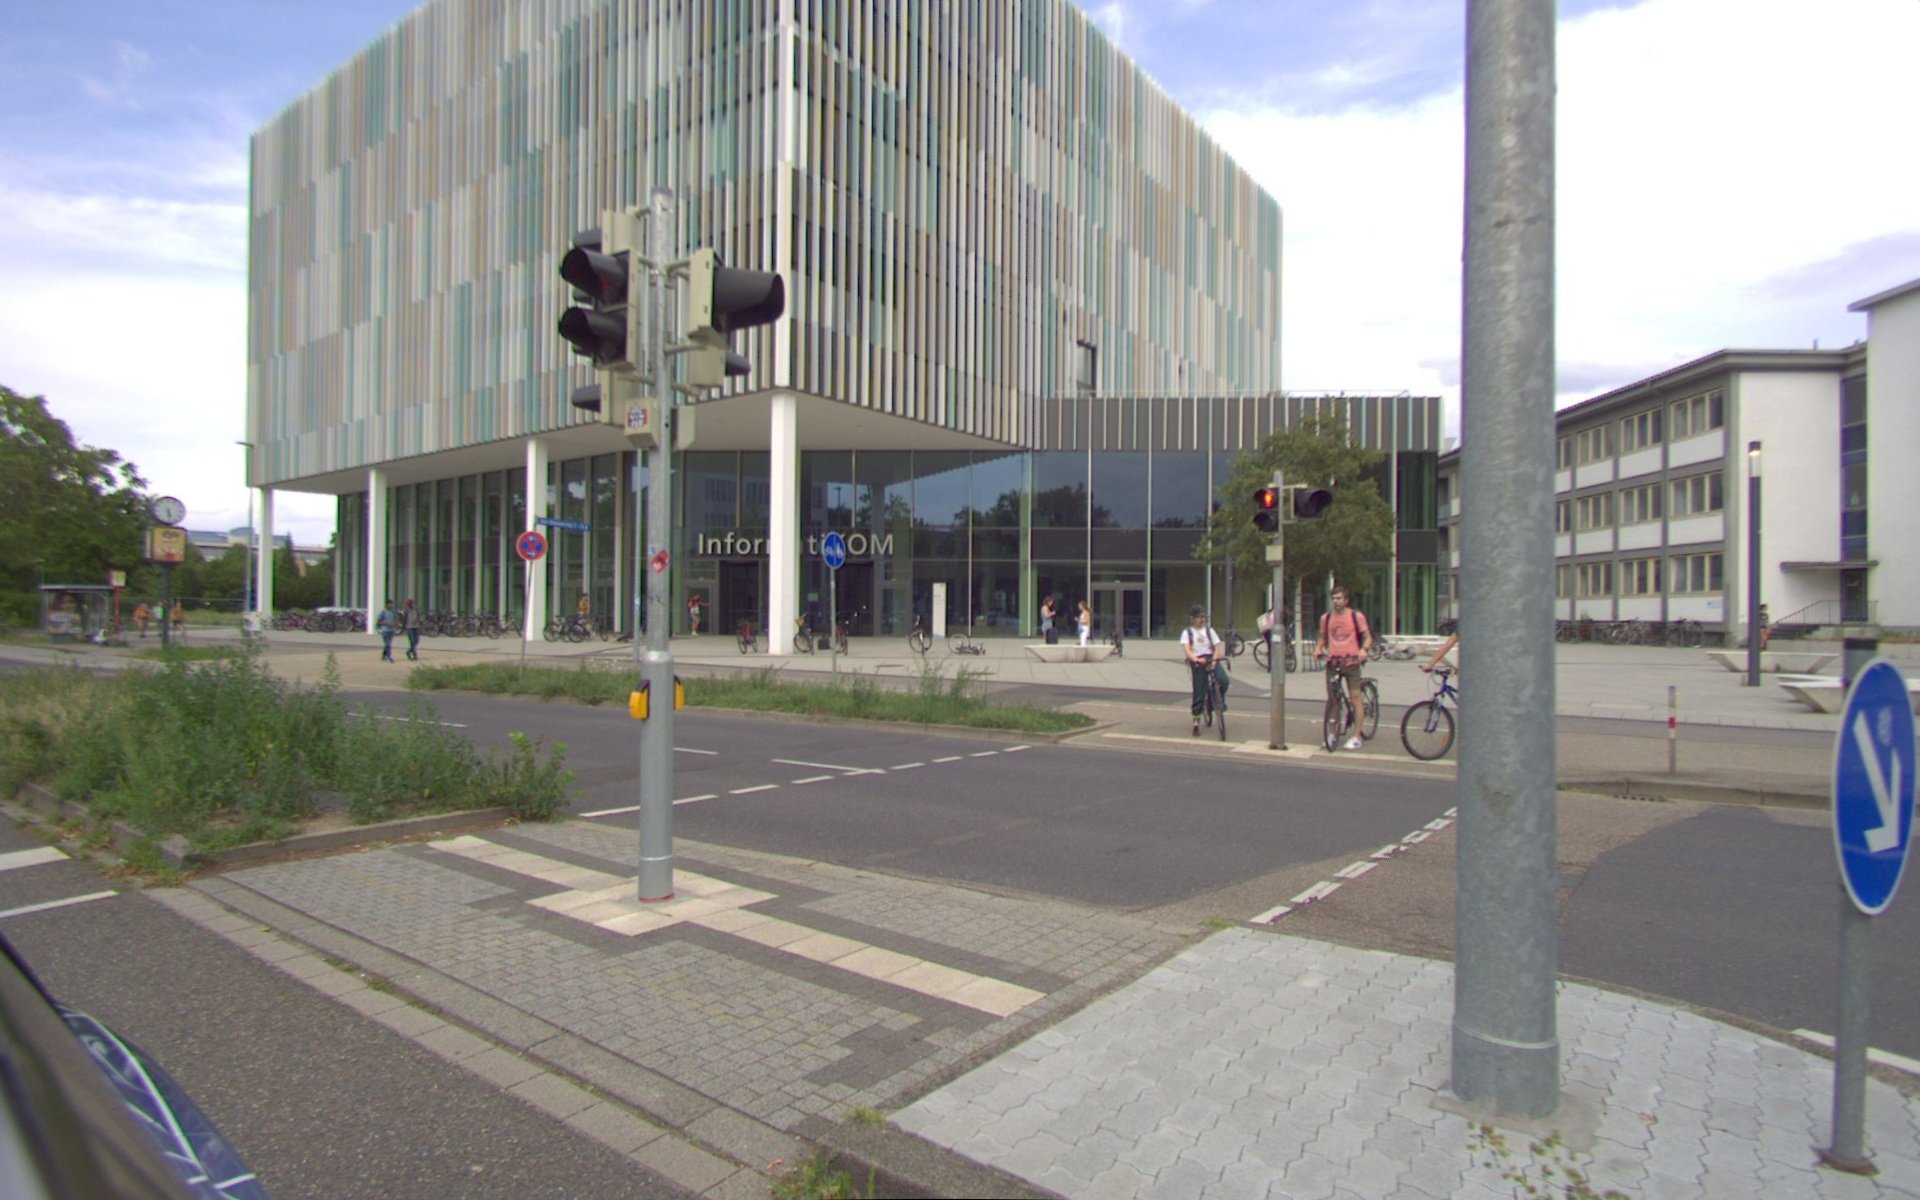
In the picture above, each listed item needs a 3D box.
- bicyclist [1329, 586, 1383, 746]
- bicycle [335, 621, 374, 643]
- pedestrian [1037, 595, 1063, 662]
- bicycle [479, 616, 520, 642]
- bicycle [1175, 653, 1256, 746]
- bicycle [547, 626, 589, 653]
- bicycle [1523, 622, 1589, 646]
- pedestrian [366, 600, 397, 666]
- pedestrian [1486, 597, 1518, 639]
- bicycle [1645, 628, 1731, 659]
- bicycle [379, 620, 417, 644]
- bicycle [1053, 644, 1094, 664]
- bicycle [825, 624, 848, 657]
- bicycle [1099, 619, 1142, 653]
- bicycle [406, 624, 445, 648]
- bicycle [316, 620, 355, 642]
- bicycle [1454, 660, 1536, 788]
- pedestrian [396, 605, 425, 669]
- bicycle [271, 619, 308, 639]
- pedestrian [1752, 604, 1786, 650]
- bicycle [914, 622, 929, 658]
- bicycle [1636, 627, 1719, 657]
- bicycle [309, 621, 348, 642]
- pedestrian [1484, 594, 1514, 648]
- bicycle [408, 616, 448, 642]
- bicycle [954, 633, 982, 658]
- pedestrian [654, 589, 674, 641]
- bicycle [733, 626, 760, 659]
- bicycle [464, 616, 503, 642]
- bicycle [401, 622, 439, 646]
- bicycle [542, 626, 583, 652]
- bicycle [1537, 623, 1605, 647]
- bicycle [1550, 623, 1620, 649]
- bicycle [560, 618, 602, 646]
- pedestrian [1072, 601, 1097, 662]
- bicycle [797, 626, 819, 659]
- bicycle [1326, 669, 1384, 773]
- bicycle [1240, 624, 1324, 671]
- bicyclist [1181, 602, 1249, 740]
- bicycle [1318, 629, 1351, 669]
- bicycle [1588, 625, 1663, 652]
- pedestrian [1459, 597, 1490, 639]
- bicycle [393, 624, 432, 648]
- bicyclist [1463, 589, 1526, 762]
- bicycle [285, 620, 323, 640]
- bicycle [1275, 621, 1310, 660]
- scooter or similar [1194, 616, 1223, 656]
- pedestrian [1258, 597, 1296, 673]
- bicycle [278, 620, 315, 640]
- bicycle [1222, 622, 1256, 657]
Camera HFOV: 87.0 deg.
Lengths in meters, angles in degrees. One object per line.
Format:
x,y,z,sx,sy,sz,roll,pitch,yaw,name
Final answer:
4.644,0.744,11.864,0.558,1.820,0.597,0,0,24,bicyclist
-30.770,1.633,51.446,0.388,1.031,1.685,-1,1,33,bicycle
2.396,0.749,27.024,0.670,1.753,0.729,0,-1,4,pedestrian
-19.059,1.195,41.920,0.388,1.031,1.565,-1,1,33,bicycle
3.328,1.238,13.087,0.724,0.996,1.808,0,1,24,bicycle
-14.810,1.494,38.296,0.393,0.944,1.529,-1,1,33,bicycle
28.713,1.629,48.772,2.639,1.142,0.745,0,-1,4,bicycle
-16.390,0.942,28.692,0.771,1.851,0.506,-2,-2,37,pedestrian
25.576,0.836,47.762,0.962,1.945,1.069,0,-1,4,pedestrian
28.018,1.674,38.984,2.639,1.142,0.745,0,-1,4,bicycle
-26.249,1.500,47.302,0.388,1.031,1.565,-1,1,33,bicycle
3.387,1.618,30.378,0.613,0.526,2.255,0,-1,-10,bicycle
-3.859,1.238,31.500,0.387,0.944,1.603,-1,1,-19,bicycle
4.841,1.078,30.672,0.613,0.992,2.255,0,-1,-10,bicycle
-24.350,1.621,46.108,0.388,1.031,1.565,-1,1,33,bicycle
-32.222,1.598,52.246,0.433,1.031,1.685,-1,1,33,bicycle
5.792,1.288,11.027,0.603,1.179,1.881,0,-1,23,bicycle
-15.909,1.068,29.299,0.623,1.851,0.506,-2,-2,37,pedestrian
-37.500,1.631,56.591,0.433,1.031,1.685,-1,1,33,bicycle
28.111,0.938,35.170,0.589,1.560,0.658,0,-1,-10,pedestrian
-1.188,1.231,31.422,0.388,1.037,1.546,-1,1,0,bicycle
28.444,1.667,40.159,2.639,1.142,0.745,0,-1,4,bicycle
-32.903,1.619,52.754,0.433,1.031,1.685,-1,1,33,bicycle
18.066,0.707,33.921,0.627,1.792,0.597,0,-1,-7,pedestrian
-23.392,1.268,44.516,0.388,1.031,1.565,-1,1,33,bicycle
0.233,1.412,31.437,0.387,0.678,1.801,-1,1,-15,bicycle
-11.863,0.600,40.514,0.623,2.059,0.506,-2,-2,36,pedestrian
-6.677,1.311,31.684,0.389,0.944,1.609,-1,1,4,bicycle
-20.517,1.246,43.594,0.388,1.031,1.565,-1,1,33,bicycle
-24.755,1.558,46.402,0.388,1.031,1.565,-1,1,33,bicycle
-15.299,1.489,38.981,0.388,0.944,1.529,-1,1,33,bicycle
28.624,1.636,47.418,2.639,1.142,0.745,0,-1,4,bicycle
28.511,1.641,46.189,2.639,1.142,0.745,0,-1,4,bicycle
-14.164,1.188,37.879,0.398,1.002,1.529,-1,1,34,bicycle
3.350,0.840,27.260,0.670,1.612,0.729,0,-1,7,pedestrian
-4.713,1.311,31.309,0.387,0.944,1.603,-1,1,-19,bicycle
4.653,1.371,11.875,0.568,0.996,1.679,0,0,24,bicycle
7.171,1.035,22.587,1.748,1.006,0.434,-1,-1,41,bicycle
3.274,0.881,12.971,0.719,1.685,0.723,0,1,24,bicyclist
11.135,1.428,30.044,0.792,1.097,2.662,0,-1,23,bicycle
28.592,1.652,43.528,2.639,1.142,0.745,0,-1,4,bicycle
24.158,0.846,47.532,0.962,1.945,1.069,0,-1,4,pedestrian
-25.266,1.647,46.719,0.388,1.031,1.565,-1,1,33,bicycle
5.845,0.797,11.095,0.558,1.820,0.597,0,0,24,bicyclist
-35.694,1.626,55.073,0.433,1.031,1.685,-1,1,33,bicycle
10.055,1.187,30.523,0.792,1.097,2.662,0,-1,23,bicycle
7.751,1.116,31.646,0.588,1.207,2.121,0,-1,6,scooter or similar
6.825,0.750,21.780,0.574,1.593,0.644,-1,-2,43,pedestrian
-36.489,1.629,55.668,0.433,1.031,1.685,-1,1,33,bicycle
8.505,1.177,30.774,0.669,1.007,2.662,0,-1,23,bicycle
